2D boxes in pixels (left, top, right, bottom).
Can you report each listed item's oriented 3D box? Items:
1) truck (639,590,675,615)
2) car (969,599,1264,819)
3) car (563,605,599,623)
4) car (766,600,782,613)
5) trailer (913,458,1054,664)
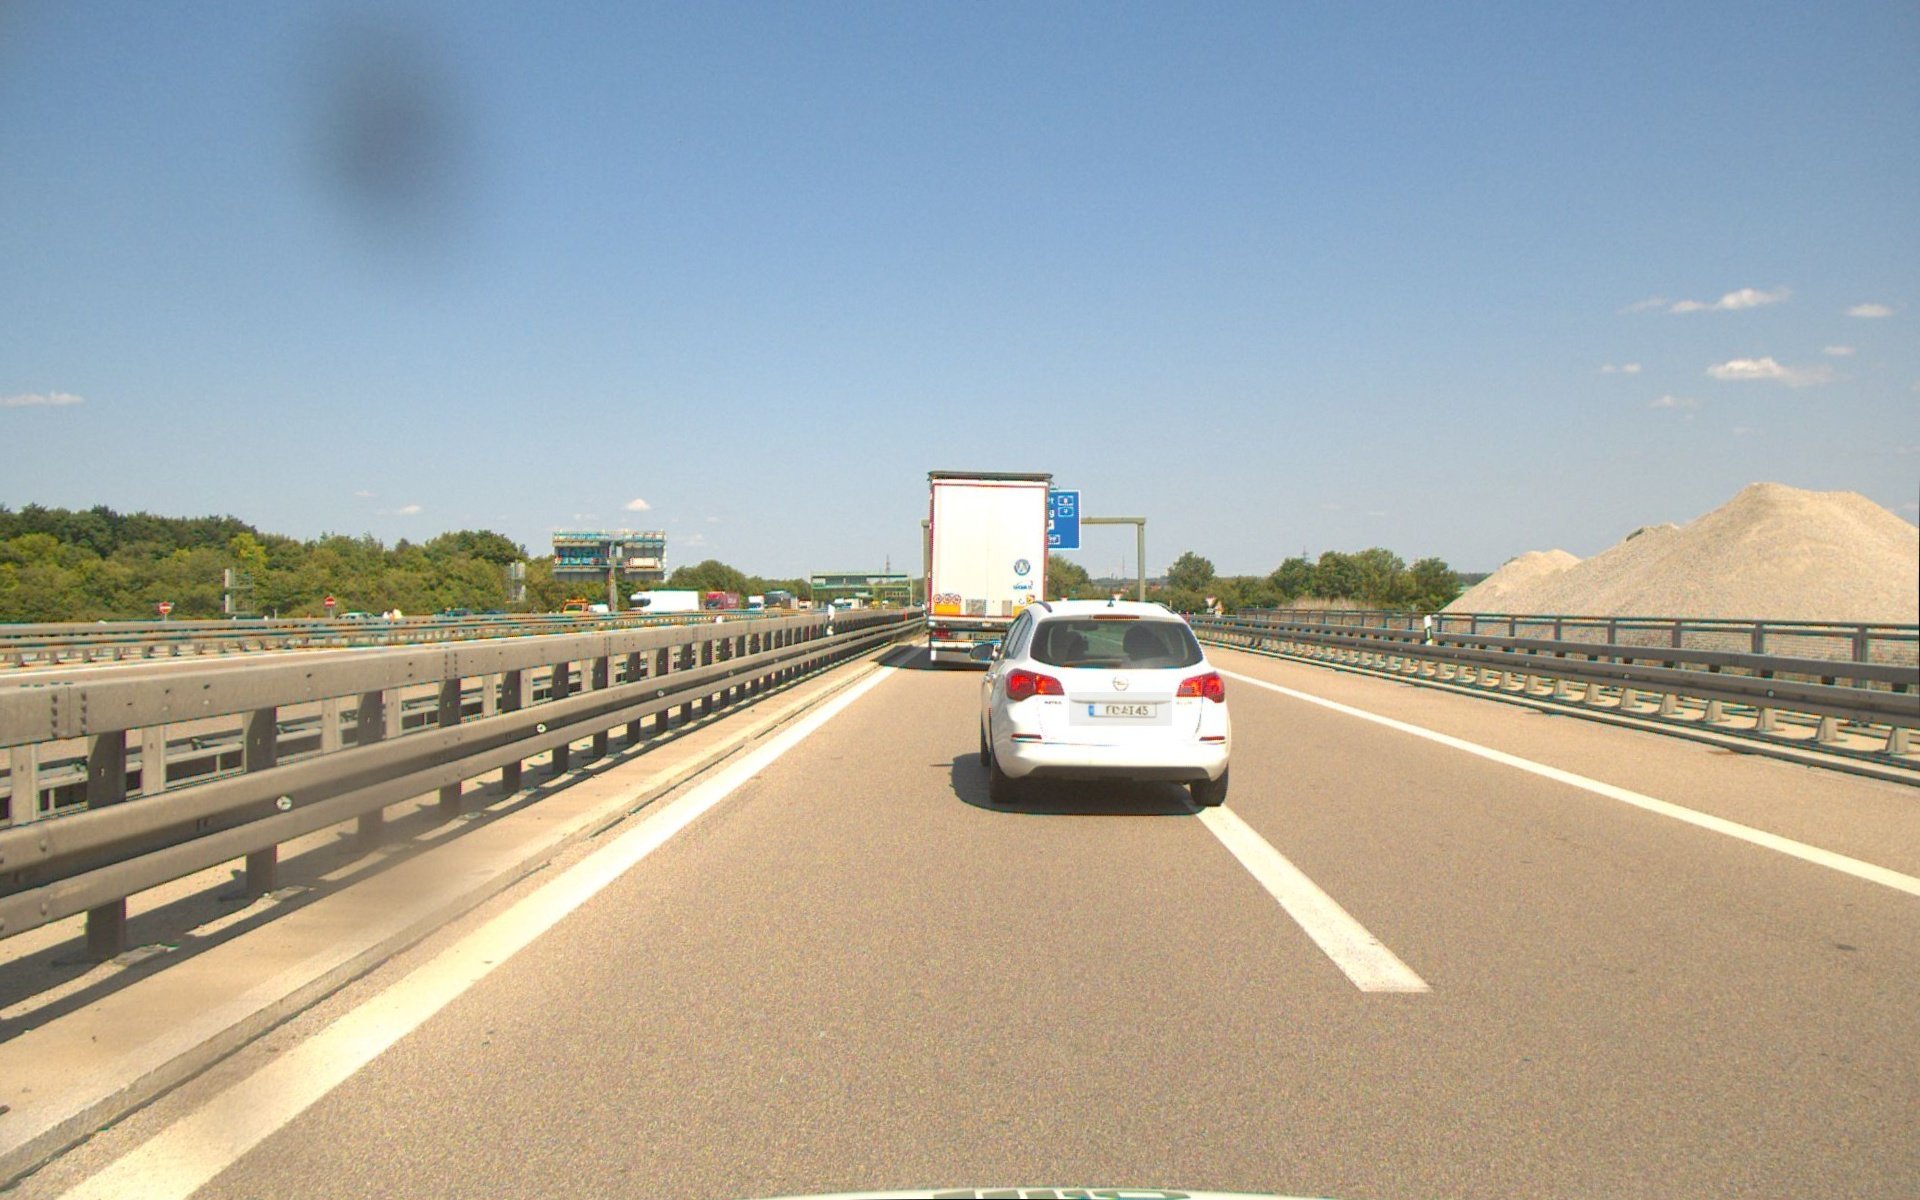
[{"bbox_3d":[-40.892,0.348,223.266,1.955,3.358,5.381,0,0,27],"label":"truck"},{"bbox_3d":[1.078,0.742,13.425,1.817,1.468,4.370,1,0,-2],"label":"car"},{"bbox_3d":[-32.715,1.194,142.742,1.800,1.544,5.298,0,0,1],"label":"car"},{"bbox_3d":[-25.842,0.900,229.972,1.751,1.668,4.000,0,0,1],"label":"car"},{"bbox_3d":[0.604,-0.733,39.858,2.852,4.218,11.258,1,-1,1],"label":"trailer"}]
